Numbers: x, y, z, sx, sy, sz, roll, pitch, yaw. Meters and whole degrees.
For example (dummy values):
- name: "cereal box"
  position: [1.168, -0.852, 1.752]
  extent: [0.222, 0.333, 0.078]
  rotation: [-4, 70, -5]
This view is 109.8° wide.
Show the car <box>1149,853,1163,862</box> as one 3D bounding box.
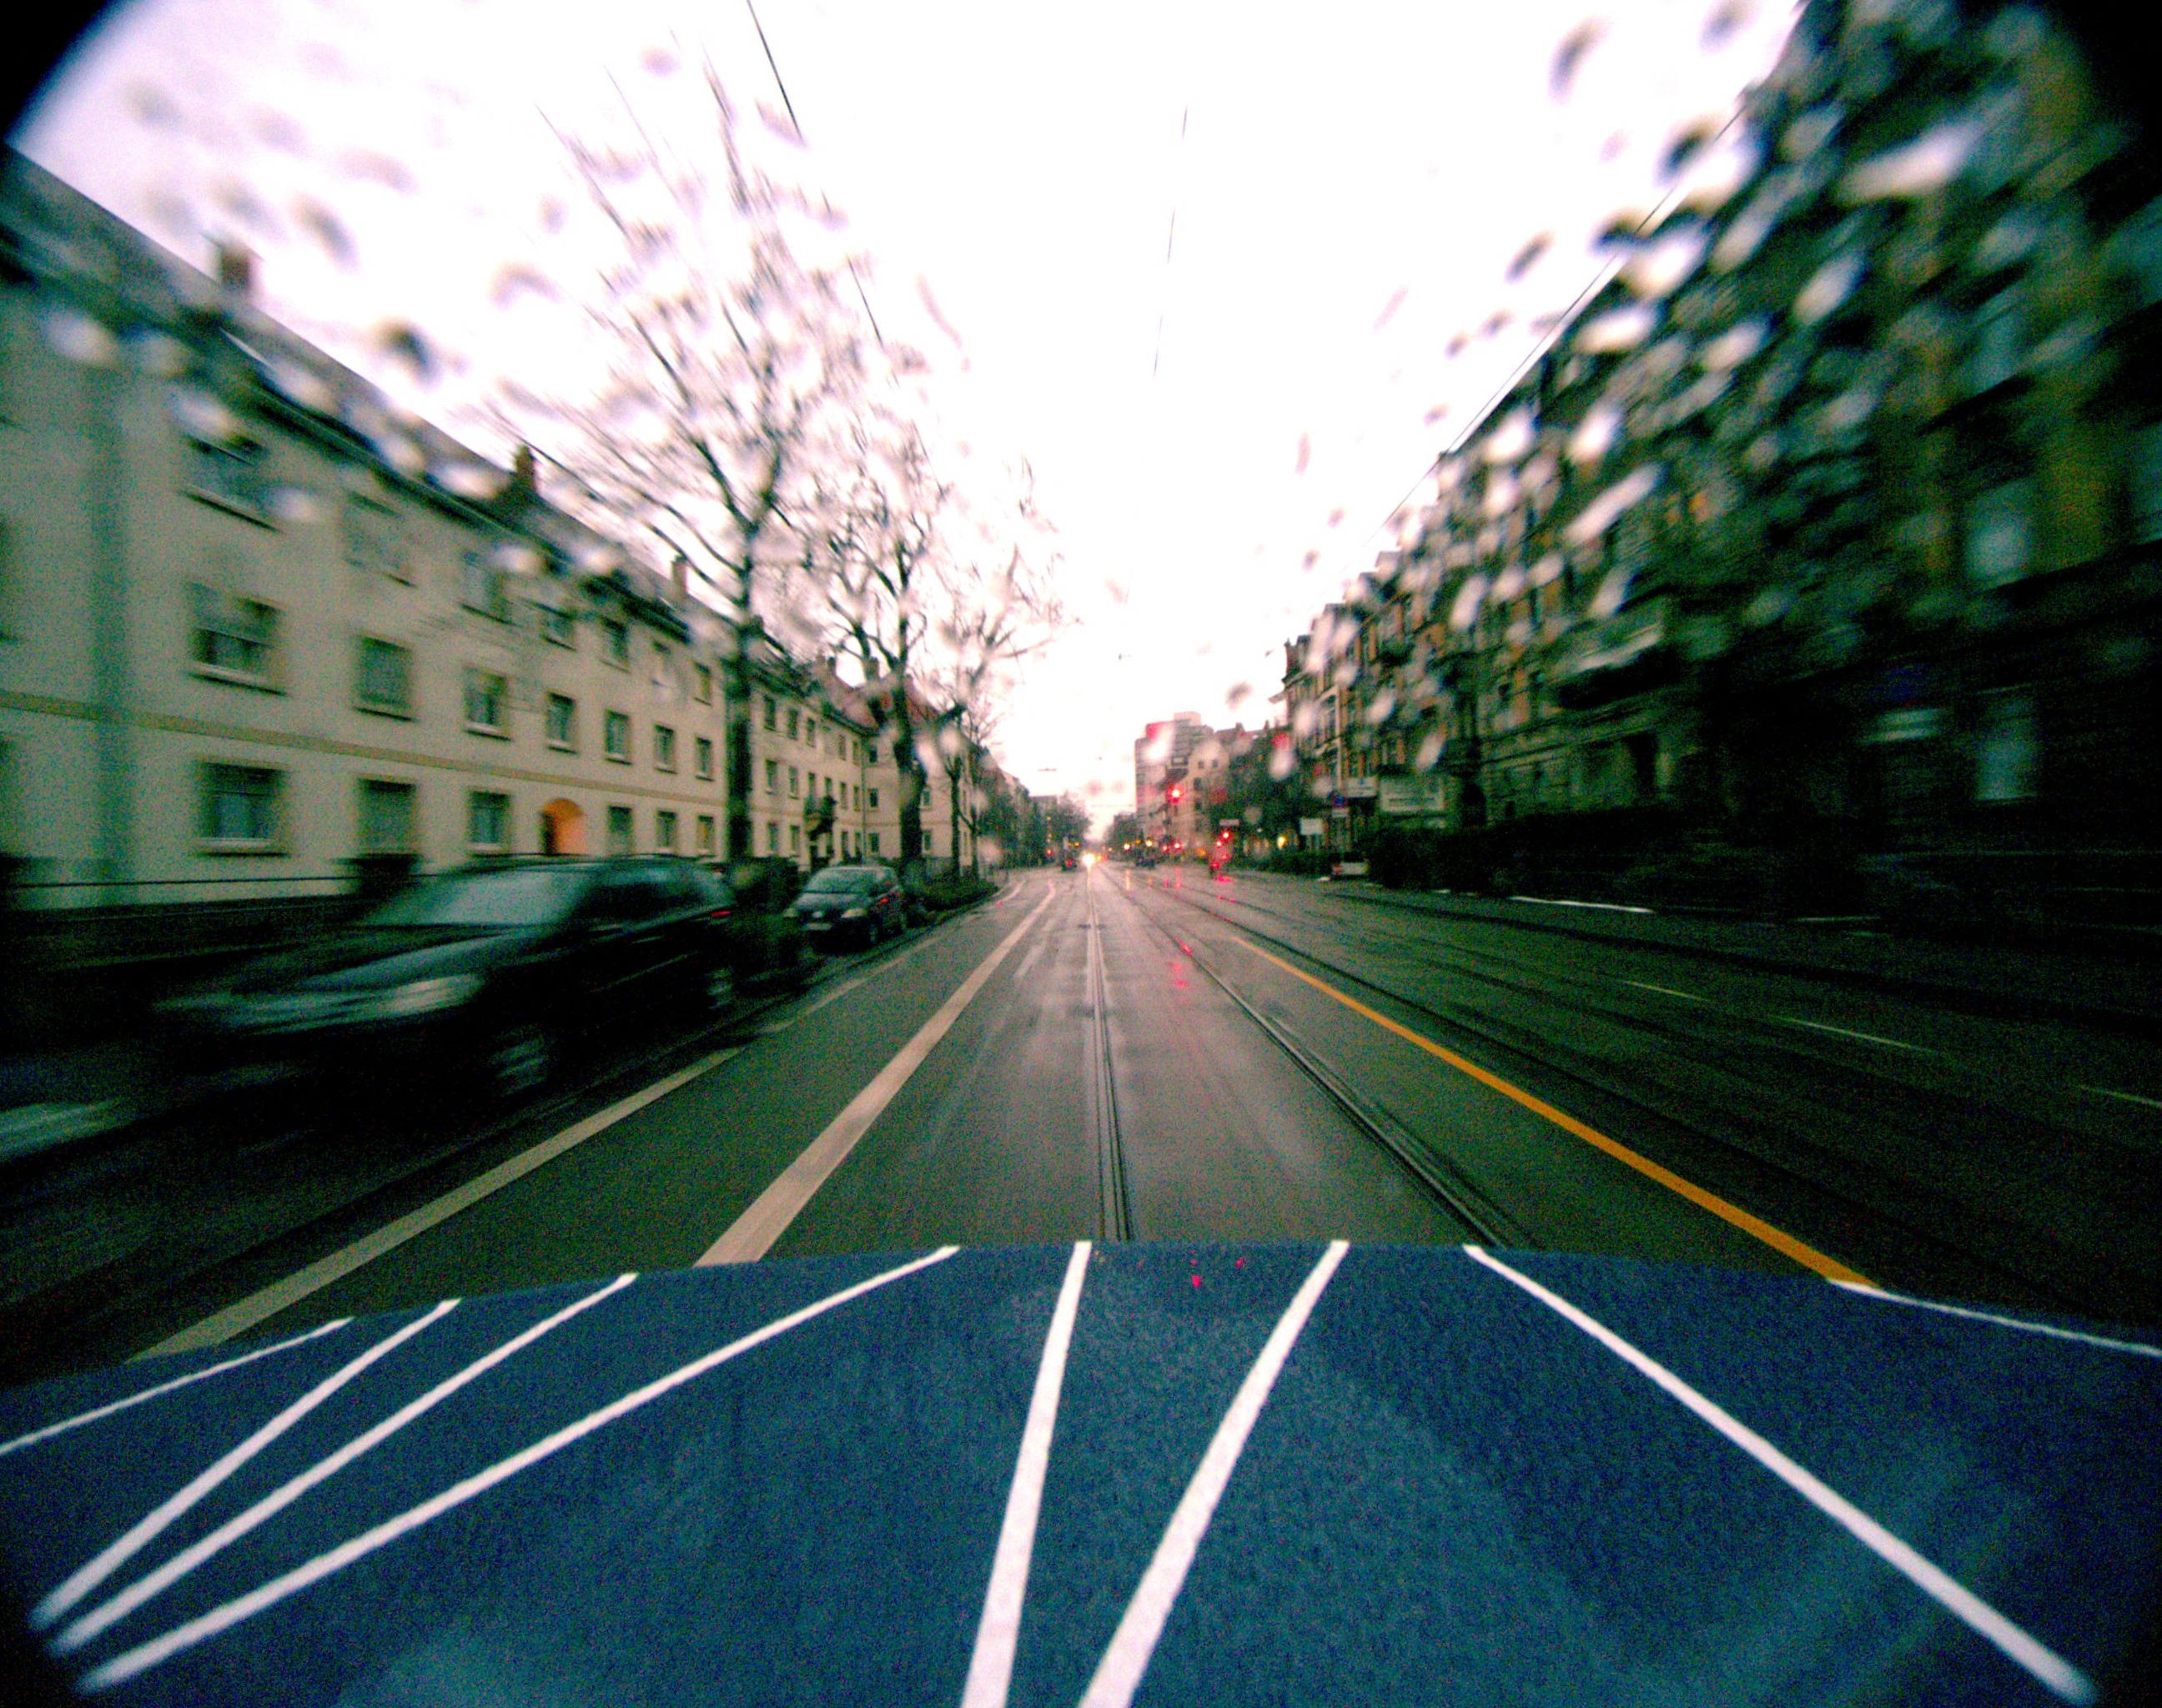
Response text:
- name: "car"
  position: [13.542, 0.673, 137.752]
  extent: [1.677, 1.507, 3.677]
  rotation: [-4, 0, -5]

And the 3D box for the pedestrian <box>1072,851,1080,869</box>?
- name: "pedestrian"
  position: [-0.582, 0.668, 83.190]
  extent: [0.689, 1.906, 0.717]
  rotation: [-2, 1, -13]

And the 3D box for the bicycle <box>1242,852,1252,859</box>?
- name: "bicycle"
  position: [23.864, 0.251, 109.279]
  extent: [0.493, 1.001, 1.808]
  rotation: [-2, 0, -24]

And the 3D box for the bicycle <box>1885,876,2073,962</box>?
- name: "bicycle"
  position: [11.089, 0.764, 9.468]
  extent: [0.264, 0.910, 1.685]
  rotation: [-7, 0, 1]

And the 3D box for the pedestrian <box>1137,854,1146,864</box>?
- name: "pedestrian"
  position: [7.649, 0.638, 96.201]
  extent: [1.058, 1.247, 0.506]
  rotation: [-4, 1, 0]

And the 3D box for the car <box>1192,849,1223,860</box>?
- name: "car"
  position: [18.811, 0.085, 113.017]
  extent: [4.336, 1.574, 1.939]
  rotation: [-1, 0, 12]

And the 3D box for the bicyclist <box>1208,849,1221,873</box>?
- name: "bicyclist"
  position: [9.130, 0.479, 52.032]
  extent: [0.685, 1.607, 0.765]
  rotation: [-2, 1, 2]

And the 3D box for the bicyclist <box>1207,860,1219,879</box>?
- name: "bicyclist"
  position: [9.971, 1.194, 57.594]
  extent: [0.706, 1.356, 0.944]
  rotation: [-3, 1, 2]

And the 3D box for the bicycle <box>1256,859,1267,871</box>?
- name: "bicycle"
  position: [13.379, 0.786, 56.236]
  extent: [0.400, 0.857, 1.849]
  rotation: [-2, 0, 2]

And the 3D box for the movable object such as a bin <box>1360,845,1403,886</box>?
- name: "movable object such as a bin"
  position: [12.228, 0.464, 30.987]
  extent: [1.246, 1.576, 1.308]
  rotation: [-2, 0, 6]

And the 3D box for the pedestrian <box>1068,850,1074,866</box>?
- name: "pedestrian"
  position: [-1.127, 0.494, 88.413]
  extent: [0.558, 1.797, 0.571]
  rotation: [-4, 1, 1]

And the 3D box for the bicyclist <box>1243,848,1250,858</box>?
- name: "bicyclist"
  position: [23.780, -0.143, 109.400]
  extent: [0.531, 1.356, 0.764]
  rotation: [-4, 1, -26]

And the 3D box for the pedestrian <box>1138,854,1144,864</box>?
- name: "pedestrian"
  position: [7.544, 0.663, 95.595]
  extent: [0.654, 1.211, 0.517]
  rotation: [-4, 1, 0]

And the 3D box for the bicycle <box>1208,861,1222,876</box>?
- name: "bicycle"
  position: [9.151, 0.996, 51.877]
  extent: [0.680, 0.966, 1.933]
  rotation: [-2, 0, 2]

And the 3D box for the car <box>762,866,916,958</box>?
- name: "car"
  position: [-4.715, 1.064, 15.433]
  extent: [1.790, 1.501, 3.987]
  rotation: [-2, 0, 0]

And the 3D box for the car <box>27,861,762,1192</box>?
- name: "car"
  position: [-4.812, 0.980, 6.646]
  extent: [1.910, 1.717, 4.902]
  rotation: [-2, 0, 0]

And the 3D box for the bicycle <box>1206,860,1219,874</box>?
- name: "bicycle"
  position: [9.974, 0.946, 57.590]
  extent: [0.683, 1.001, 1.803]
  rotation: [-2, 0, 2]

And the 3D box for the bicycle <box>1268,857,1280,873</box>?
- name: "bicycle"
  position: [13.061, 0.744, 51.409]
  extent: [0.417, 1.001, 1.849]
  rotation: [-2, 0, 2]

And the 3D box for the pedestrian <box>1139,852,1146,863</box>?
- name: "pedestrian"
  position: [7.835, 0.486, 97.178]
  extent: [0.685, 1.395, 0.578]
  rotation: [-4, 1, 0]

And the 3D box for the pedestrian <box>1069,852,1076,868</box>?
- name: "pedestrian"
  position: [-0.978, 0.689, 85.666]
  extent: [0.659, 1.698, 0.571]
  rotation: [-4, 1, 1]

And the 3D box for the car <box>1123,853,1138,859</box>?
- name: "car"
  position: [13.711, 0.583, 210.197]
  extent: [3.839, 1.405, 1.727]
  rotation: [-1, 0, 1]
